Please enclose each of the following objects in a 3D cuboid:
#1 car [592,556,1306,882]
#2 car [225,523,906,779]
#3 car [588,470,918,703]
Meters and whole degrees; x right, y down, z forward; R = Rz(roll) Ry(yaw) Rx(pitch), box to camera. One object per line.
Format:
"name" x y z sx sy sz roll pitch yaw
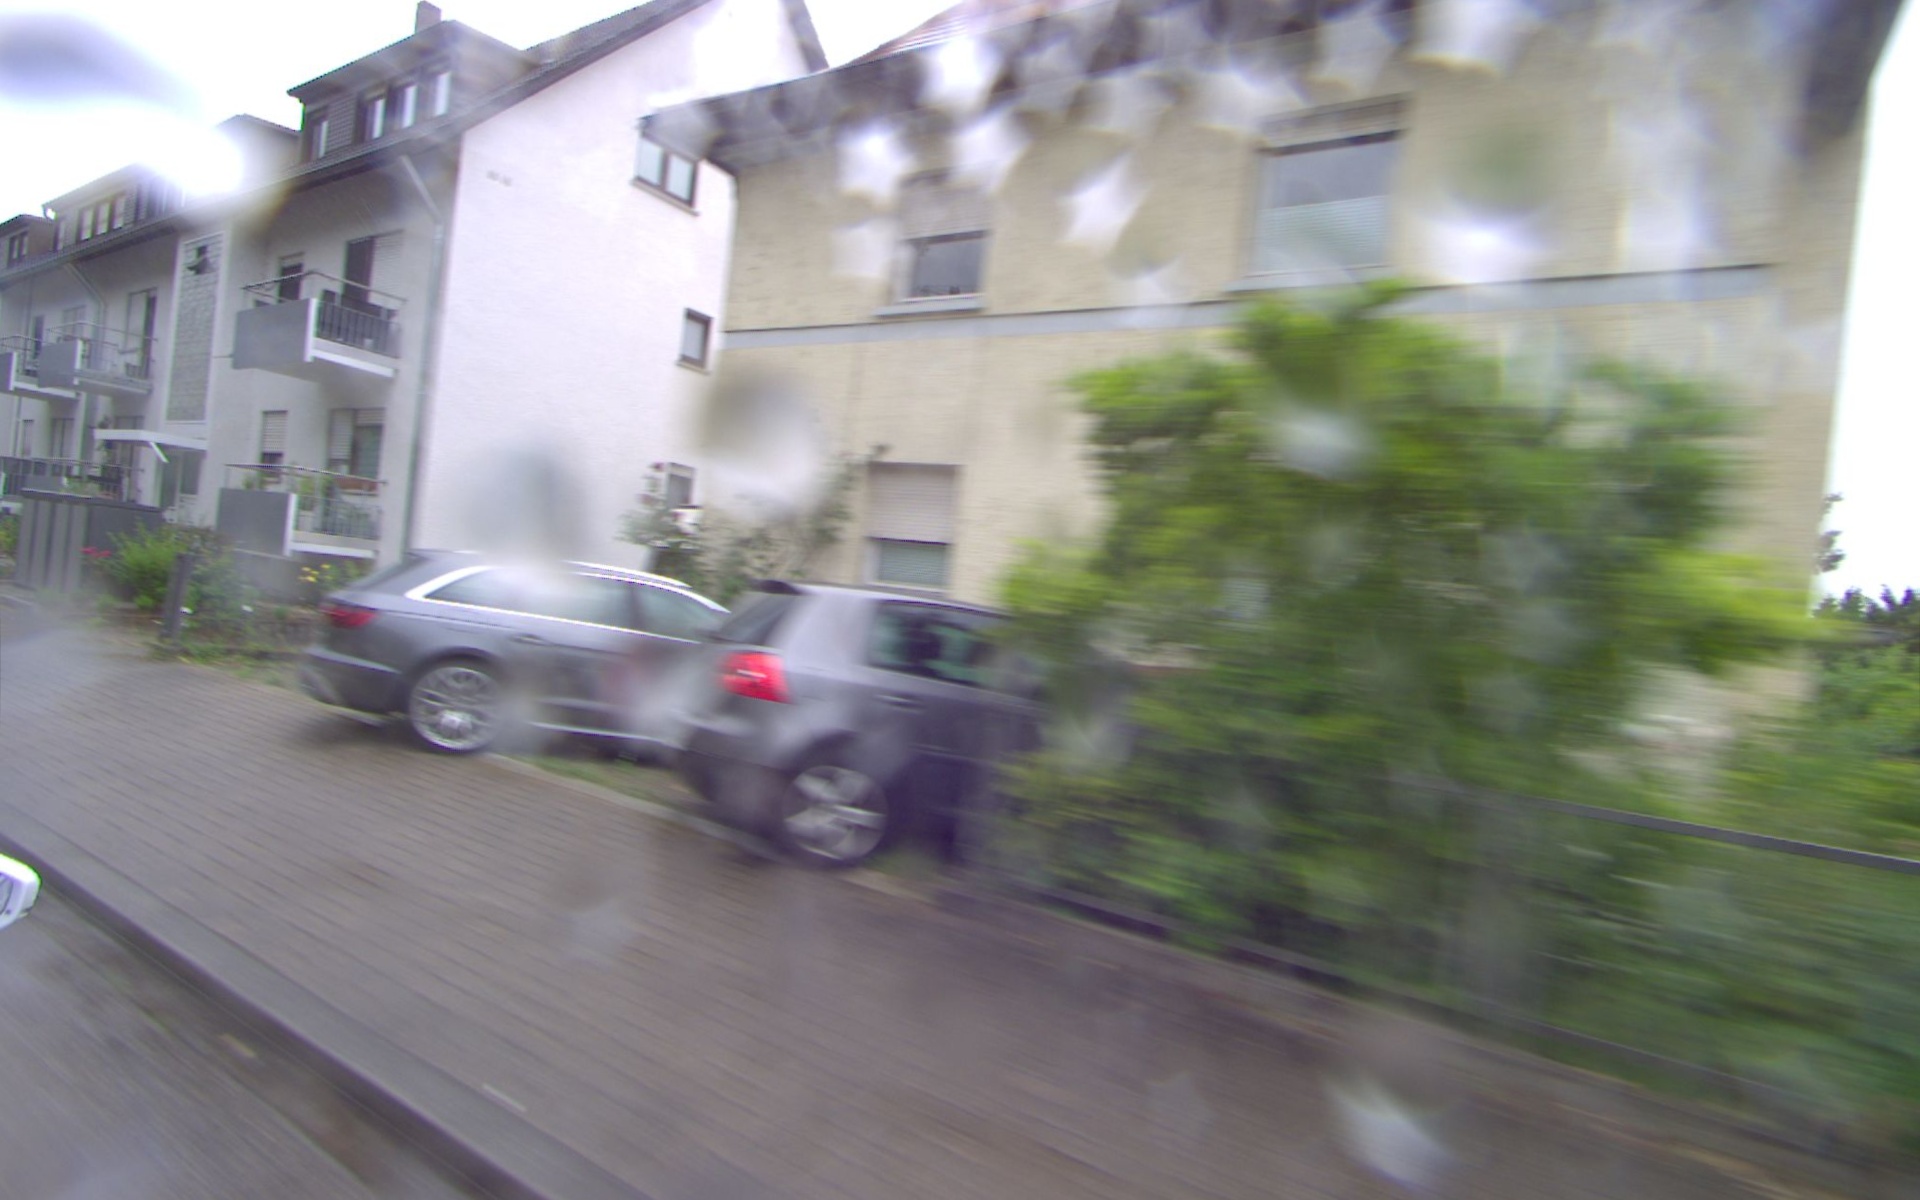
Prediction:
"car" -0.077 0.744 6.252 3.948 1.475 1.761 7 1 -24
"car" -2.832 0.436 7.906 4.326 1.381 1.909 7 -1 -24
"car" -2.900 -0.056 15.129 1.972 2.794 4.465 11 2 32
